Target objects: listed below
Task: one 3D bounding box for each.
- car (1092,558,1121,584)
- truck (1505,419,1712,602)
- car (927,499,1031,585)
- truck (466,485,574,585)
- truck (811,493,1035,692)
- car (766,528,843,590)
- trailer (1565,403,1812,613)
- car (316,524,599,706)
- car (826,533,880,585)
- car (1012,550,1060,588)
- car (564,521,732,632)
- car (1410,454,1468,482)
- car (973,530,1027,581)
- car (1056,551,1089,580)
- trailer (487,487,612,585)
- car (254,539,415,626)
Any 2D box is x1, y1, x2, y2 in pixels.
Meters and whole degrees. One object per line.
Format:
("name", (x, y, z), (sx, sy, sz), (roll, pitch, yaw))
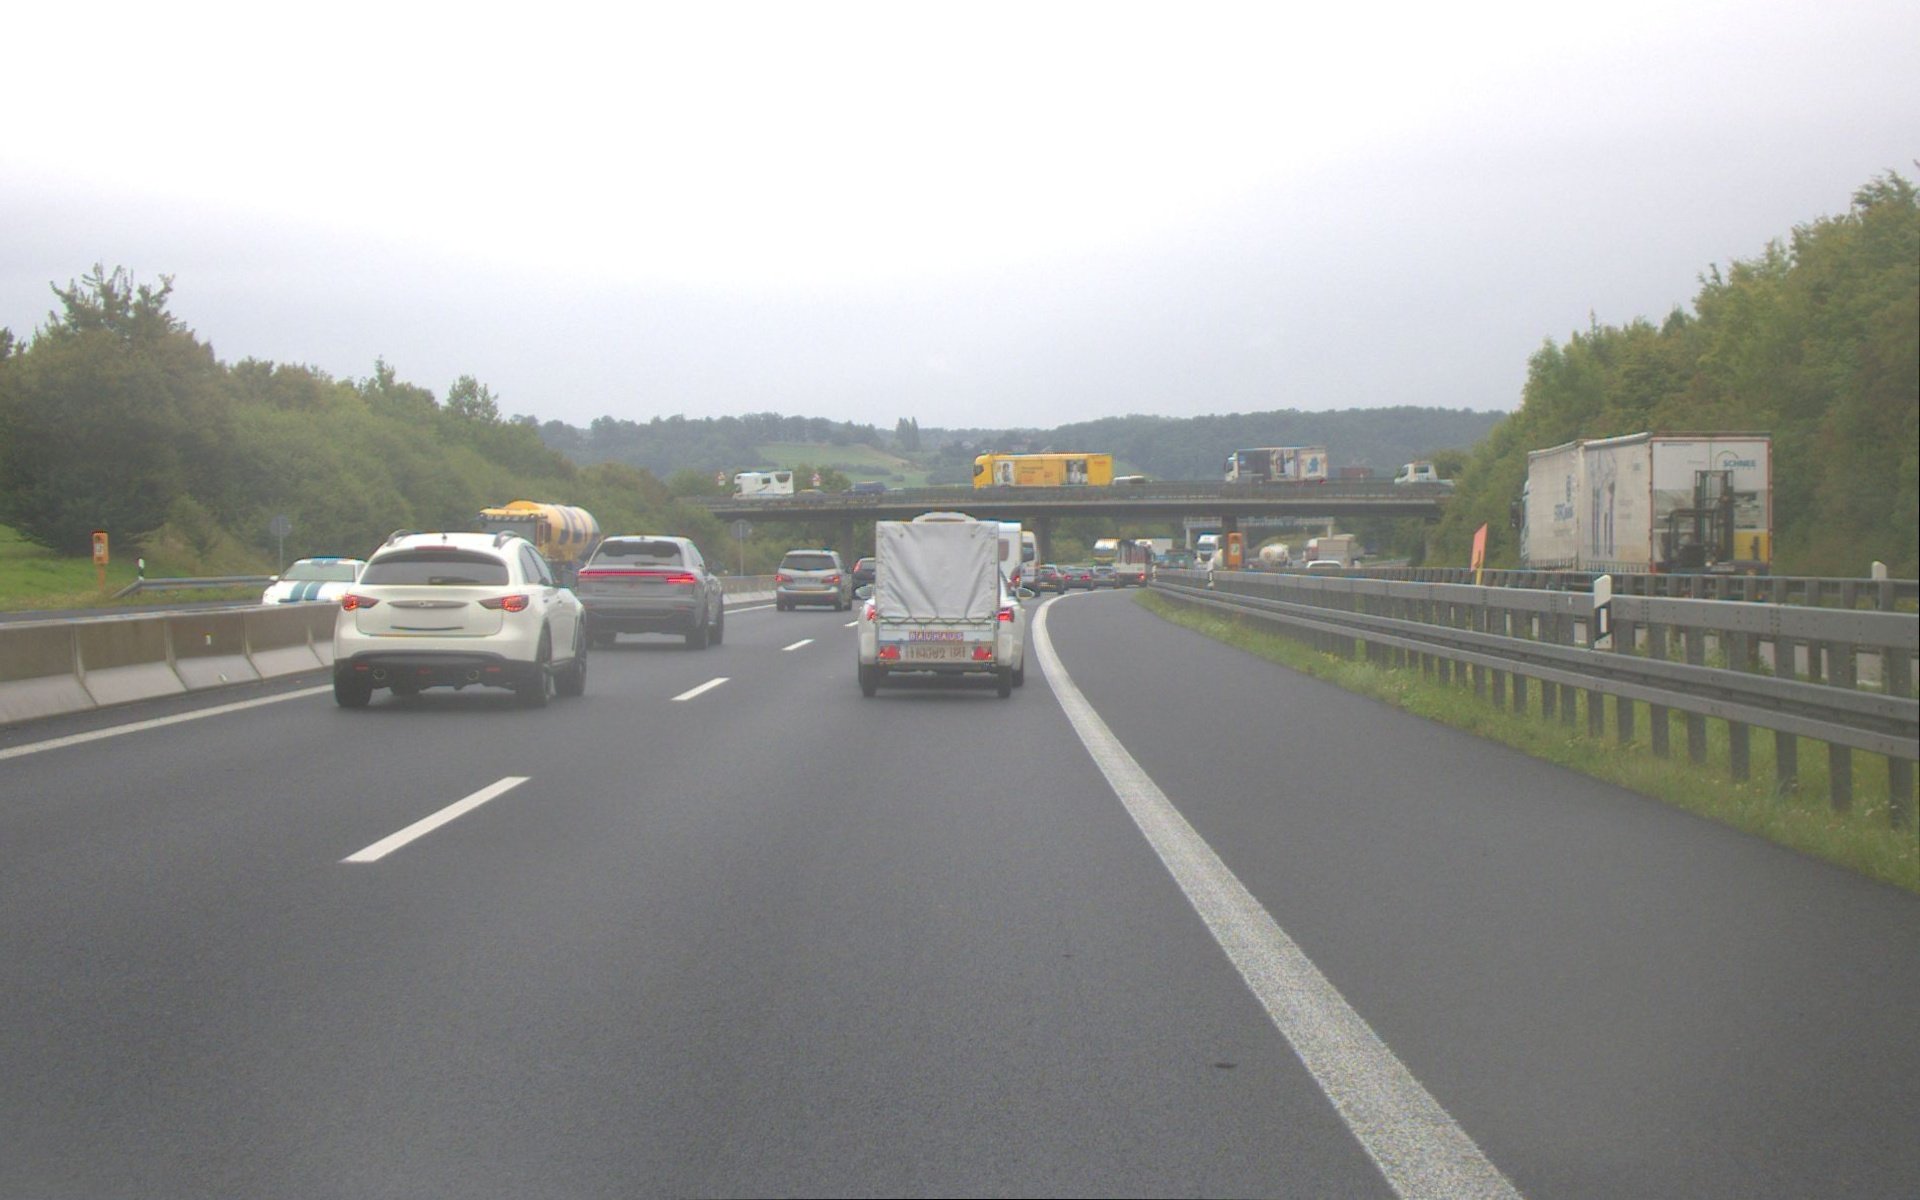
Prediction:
("car", (10.235, -2.051, 240.084), (1.994, 1.744, 4.000), (1, 1, 3))
("truck", (16.022, -2.208, 85.781), (3.437, 4.274, 10.418), (0, 1, 2))
("car", (0.633, -1.816, 106.698), (3.017, 2.607, 6.074), (0, 1, 2))
("truck", (-15.384, -2.253, 120.508), (2.762, 3.386, 5.845), (1, 1, 2))
("truck", (-0.290, -0.150, 37.845), (2.019, 1.979, 7.212), (0, 1, 3))
("car", (-4.100, -1.093, 90.909), (1.900, 1.607, 4.017), (0, 1, -1))
("trailer", (15.769, -1.982, 75.342), (3.437, 4.274, 10.454), (0, 1, 1))
("car", (-4.760, 0.098, 33.191), (1.976, 1.633, 4.500), (0, 1, 1))
("car", (-3.793, -1.456, 122.218), (1.842, 1.813, 4.000), (0, 1, -1))
("car", (3.517, -1.452, 159.864), (1.993, 1.744, 4.000), (1, 1, -2))
("car", (-4.741, -0.380, 52.844), (2.174, 1.626, 4.501), (0, 1, 0))
("car", (34.644, -9.554, 248.856), (1.837, 1.908, 3.999), (1, 1, -38))
("car", (1.616, -1.827, 140.853), (1.993, 2.029, 4.152), (1, 1, -2))
("car", (6.963, -2.148, 212.381), (1.993, 1.744, 4.000), (1, 1, 2))
("trailer", (-15.083, -2.332, 127.281), (2.762, 3.386, 11.446), (1, 1, 2))
("car", (-12.651, -0.380, 69.852), (2.180, 1.690, 4.864), (0, 1, 3))
